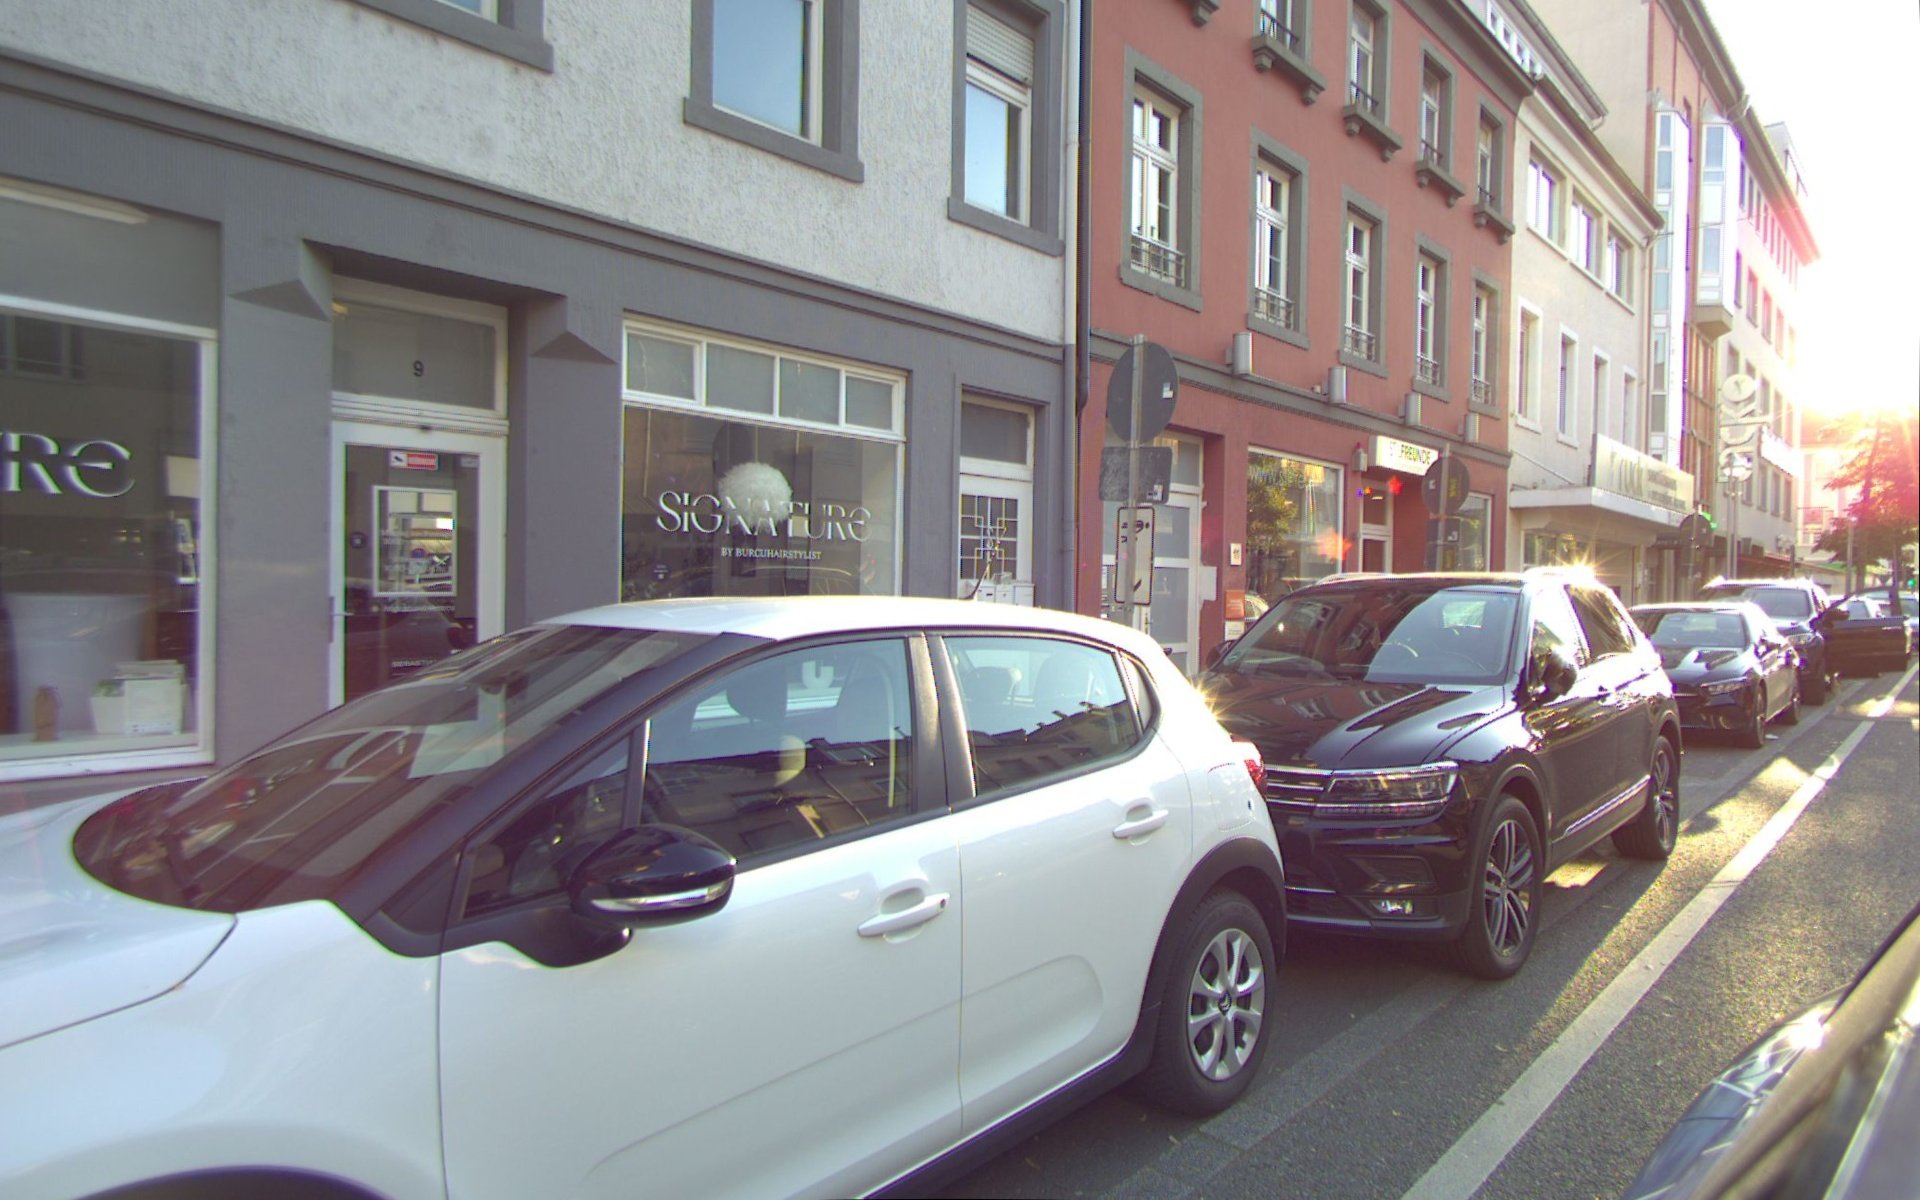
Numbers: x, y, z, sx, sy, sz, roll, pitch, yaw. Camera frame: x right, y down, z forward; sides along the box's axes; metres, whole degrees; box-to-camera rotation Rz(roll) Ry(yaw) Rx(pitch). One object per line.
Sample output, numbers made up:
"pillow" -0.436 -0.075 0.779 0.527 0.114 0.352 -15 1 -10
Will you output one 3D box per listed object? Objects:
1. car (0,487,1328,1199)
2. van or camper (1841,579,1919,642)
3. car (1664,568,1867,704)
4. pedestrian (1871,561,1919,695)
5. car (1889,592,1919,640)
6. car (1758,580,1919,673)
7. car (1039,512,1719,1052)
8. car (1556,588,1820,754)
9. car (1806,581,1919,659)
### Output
"car" -0.827 0.662 2.449 3.868 1.593 1.663 -1 0 -43
"van or camper" 28.755 0.274 31.018 1.779 1.795 4.509 2 2 31
"car" 12.781 0.438 15.914 1.994 1.799 5.234 1 1 44
"pedestrian" 13.512 0.387 14.606 0.483 1.881 0.532 1 1 39
"car" 32.953 0.530 34.394 3.722 1.521 1.692 -1 2 -42
"car" 17.822 0.443 20.458 4.550 1.676 1.996 -1 1 -43
"car" 2.540 0.562 5.419 4.387 1.720 1.795 -1 0 -44
"car" 8.324 0.645 11.407 4.338 1.507 1.686 -1 -1 -44
"car" 21.945 0.404 24.349 4.407 1.675 1.995 -1 2 -44
